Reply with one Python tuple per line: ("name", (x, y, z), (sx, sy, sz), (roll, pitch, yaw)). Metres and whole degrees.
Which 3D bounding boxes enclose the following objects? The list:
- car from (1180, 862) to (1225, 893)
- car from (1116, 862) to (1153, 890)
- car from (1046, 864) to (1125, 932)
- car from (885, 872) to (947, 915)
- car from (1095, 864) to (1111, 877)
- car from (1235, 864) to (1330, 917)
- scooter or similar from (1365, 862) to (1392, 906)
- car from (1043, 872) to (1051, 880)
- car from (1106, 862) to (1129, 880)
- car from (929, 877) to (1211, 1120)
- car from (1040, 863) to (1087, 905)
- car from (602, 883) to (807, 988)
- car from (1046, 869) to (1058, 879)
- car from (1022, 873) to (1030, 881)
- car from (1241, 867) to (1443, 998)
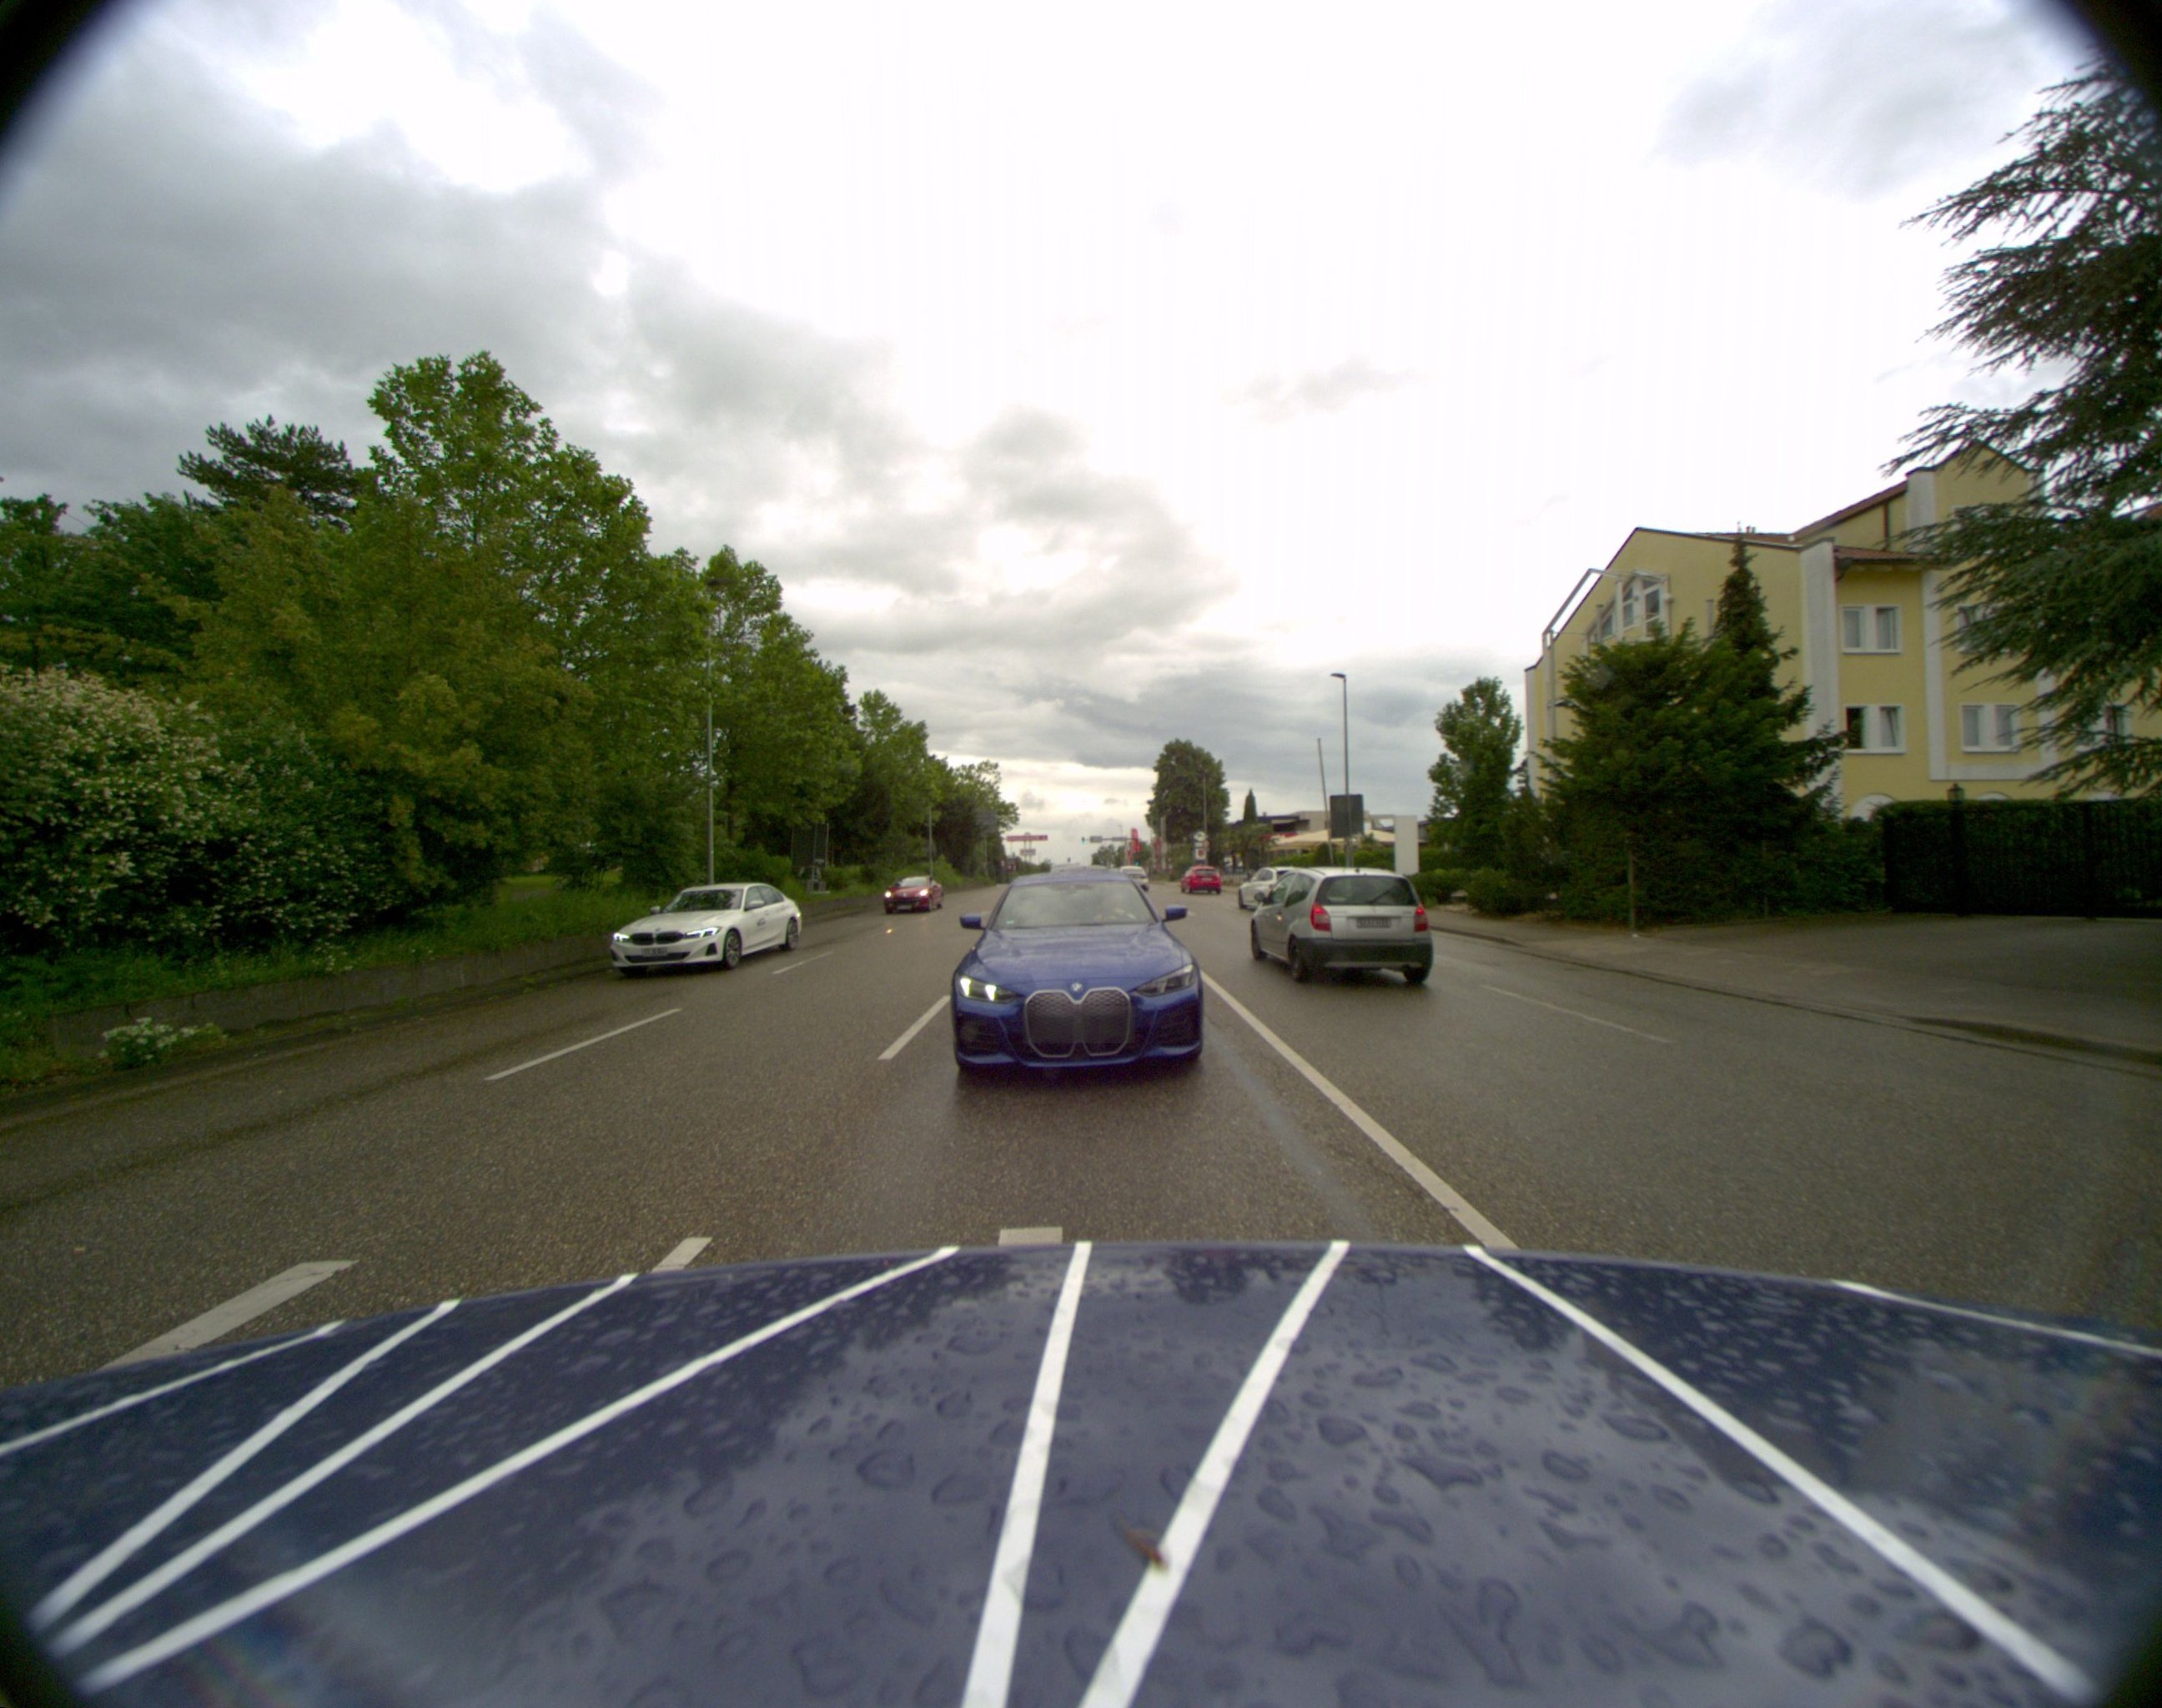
("car", (6.416, 1.201, 40.470), (1.699, 1.467, 3.780), (-1, 0, -1))
("car", (3.075, 1.258, 44.480), (1.820, 1.373, 4.272), (-3, 0, 0))
("car", (0.113, 1.049, 19.755), (1.807, 1.543, 4.223), (-1, -1, 0))
("car", (-6.372, 1.487, 29.673), (1.629, 1.395, 3.689), (-2, 0, -1))
("car", (2.623, 1.987, 91.900), (1.764, 1.418, 3.780), (-1, 0, -1))
("car", (6.264, 1.079, 24.166), (1.790, 1.451, 4.431), (0, 0, -1))
("scooter or similar", (10.041, 0.986, 25.652), (0.505, 1.398, 1.882), (0, 0, 11))
("car", (-7.589, 4.905, 170.873), (1.710, 1.570, 3.518), (-1, 0, -3))
("car", (2.950, 1.396, 62.216), (1.699, 1.345, 3.780), (1, 0, 0))
("car", (-0.070, 1.004, 7.068), (1.803, 1.399, 4.272), (-1, 0, 0))
("car", (-0.666, 1.215, 31.832), (1.807, 1.543, 4.000), (-1, 0, 0))
("car", (-6.707, 1.368, 14.131), (1.669, 1.418, 4.304), (-2, 0, -1))
("car", (-4.464, 3.080, 117.972), (1.776, 1.448, 3.999), (-1, 0, -3))
("car", (-14.016, 5.760, 192.609), (1.812, 1.718, 3.998), (-3, 1, -3))
("car", (3.400, 0.941, 10.591), (1.643, 1.451, 3.518), (0, 0, 0))
